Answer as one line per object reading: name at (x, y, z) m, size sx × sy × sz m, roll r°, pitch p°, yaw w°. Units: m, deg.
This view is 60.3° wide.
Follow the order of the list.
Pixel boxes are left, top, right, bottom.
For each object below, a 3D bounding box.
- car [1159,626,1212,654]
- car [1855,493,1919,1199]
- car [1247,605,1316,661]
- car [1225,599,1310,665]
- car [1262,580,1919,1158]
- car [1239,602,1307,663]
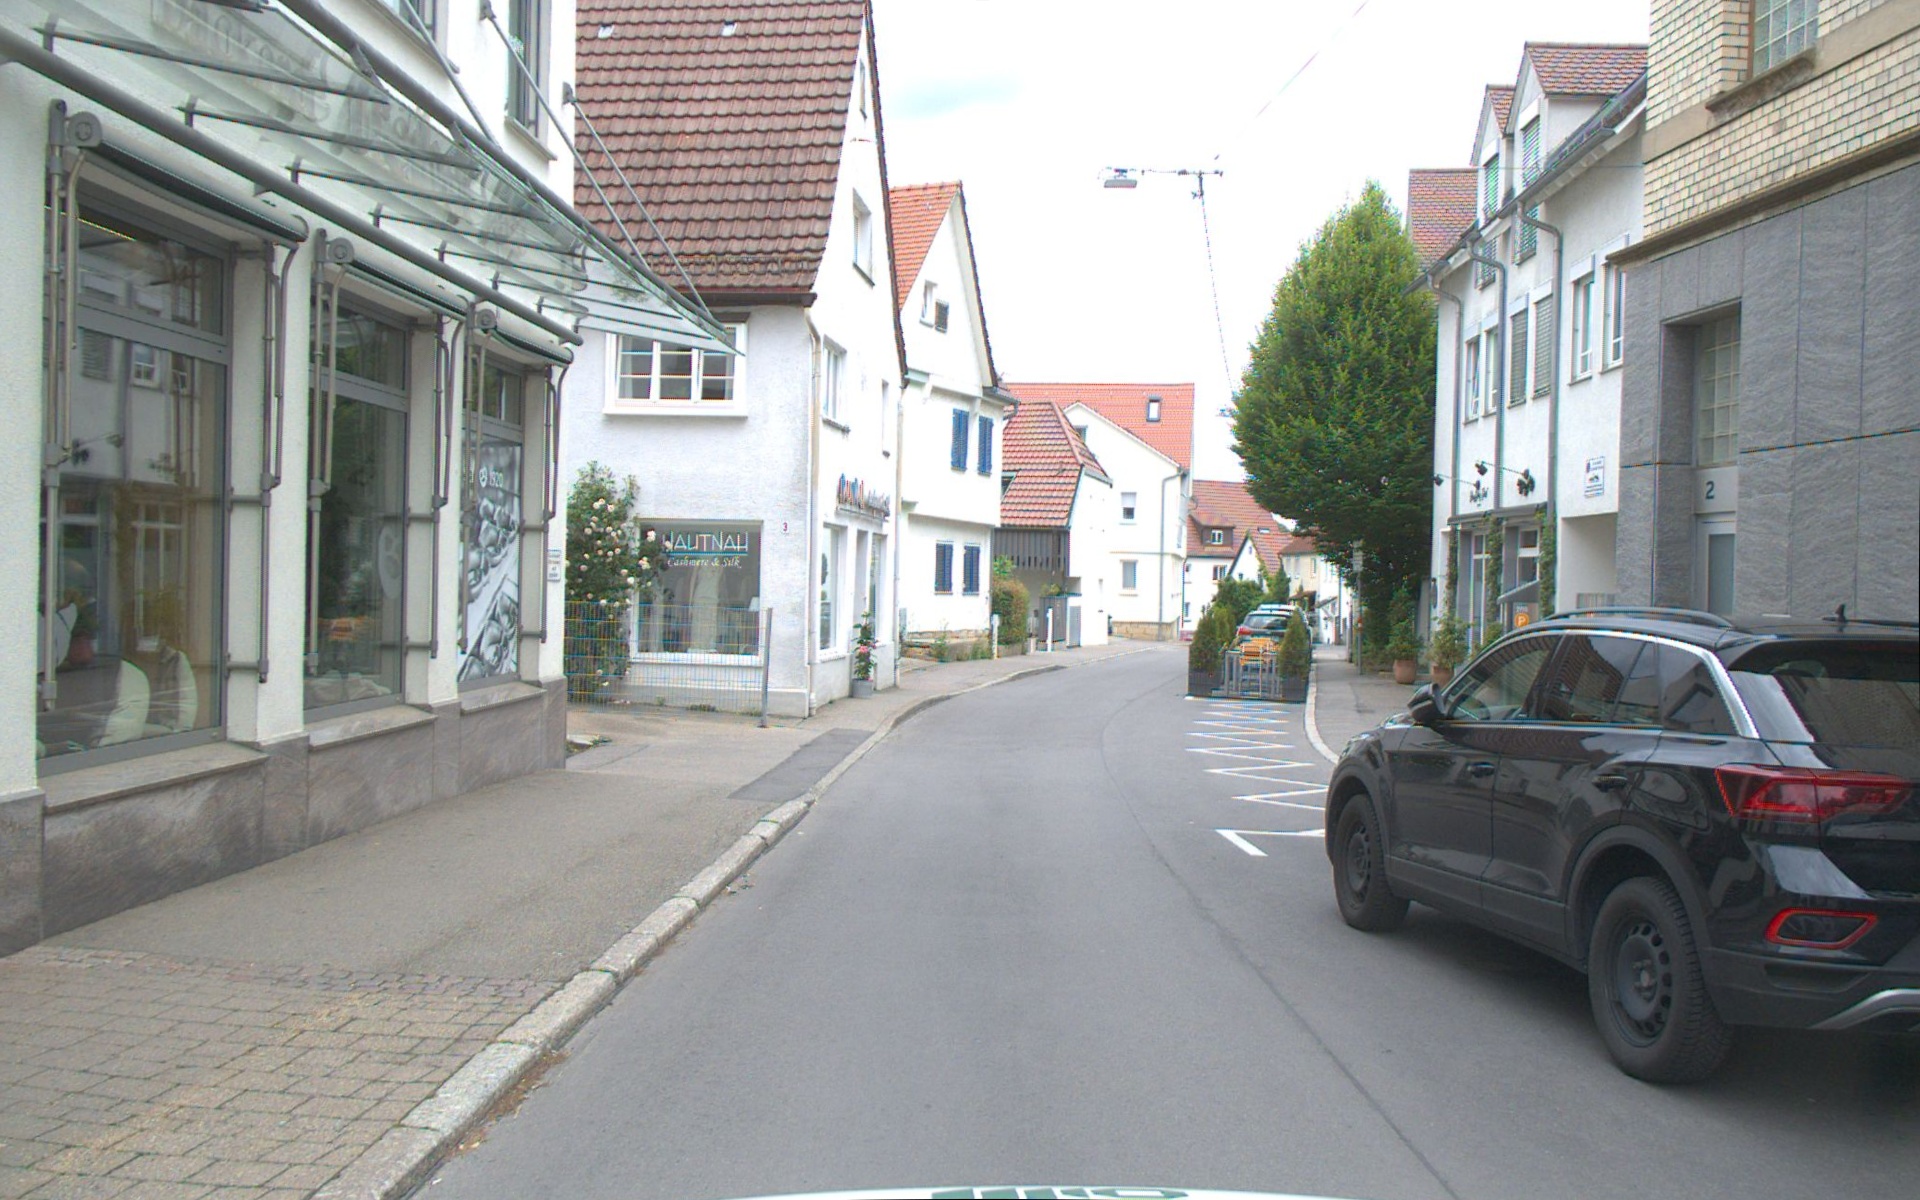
car at (16.106, 2.880, 118.206) m, size 1.967 × 1.713 × 3.972 m, roll -4°, pitch -2°, yaw -22°
car at (3.496, 0.720, 2.217) m, size 1.792 × 1.823 × 4.209 m, roll 2°, pitch 1°, yaw -10°
car at (10.590, 1.047, 54.231) m, size 1.951 × 1.643 × 4.882 m, roll 3°, pitch 0°, yaw 14°
car at (7.998, 0.791, 42.682) m, size 1.906 × 1.534 × 4.824 m, roll 2°, pitch 0°, yaw 13°
car at (2.897, 0.769, 7.043) m, size 1.755 × 1.628 × 4.533 m, roll 2°, pitch 0°, yaw -9°
car at (9.223, 0.934, 48.541) m, size 1.823 × 1.662 × 4.905 m, roll 2°, pitch 0°, yaw 12°
